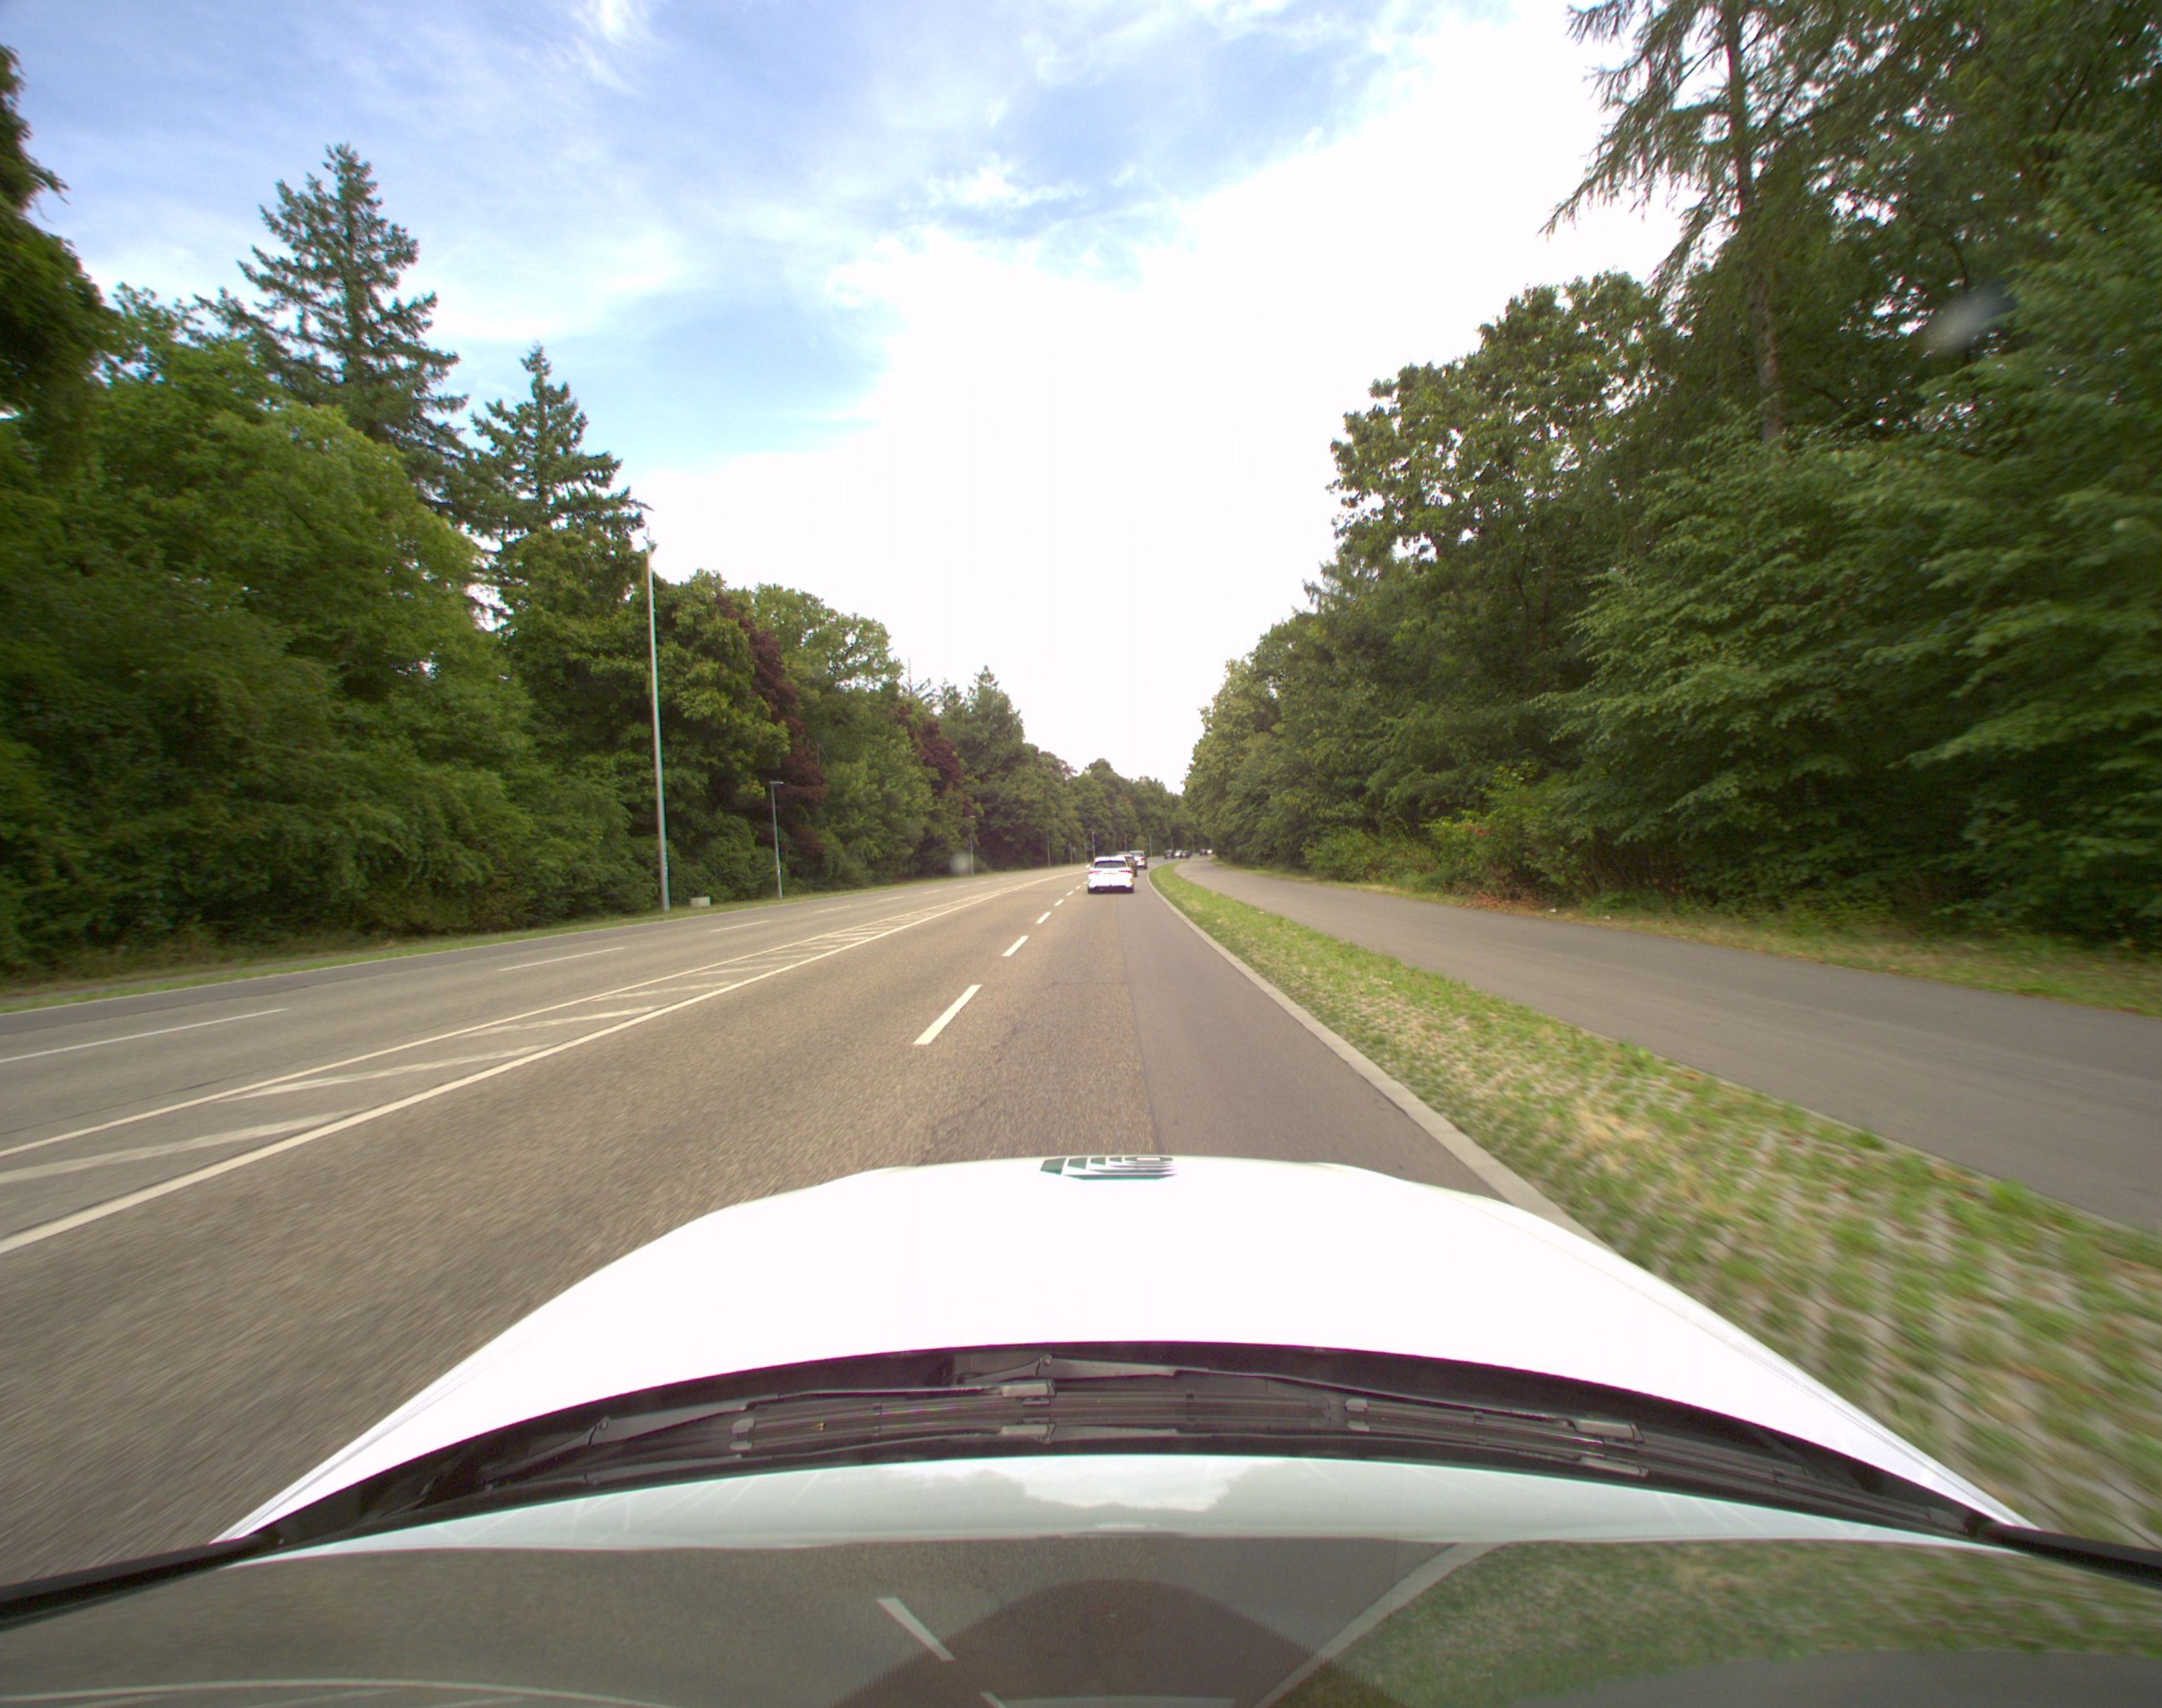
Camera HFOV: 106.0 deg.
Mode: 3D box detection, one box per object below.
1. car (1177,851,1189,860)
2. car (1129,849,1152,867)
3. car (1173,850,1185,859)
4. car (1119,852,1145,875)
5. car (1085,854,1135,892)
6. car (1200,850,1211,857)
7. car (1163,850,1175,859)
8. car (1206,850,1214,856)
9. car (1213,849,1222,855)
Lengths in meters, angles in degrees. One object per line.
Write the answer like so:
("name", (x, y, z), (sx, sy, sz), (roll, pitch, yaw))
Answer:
("car", (20.127, 0.259, 160.584), (1.980, 1.783, 4.014), (0, -1, 13))
("car", (5.544, 0.416, 75.315), (1.983, 1.607, 4.007), (0, -1, 7))
("car", (21.874, 0.136, 180.908), (1.978, 1.783, 4.017), (0, -1, 17))
("car", (3.310, 0.623, 53.541), (1.628, 1.420, 4.003), (0, -1, 3))
("car", (1.154, 0.752, 32.615), (1.829, 1.410, 4.492), (0, -1, 2))
("car", (31.358, -0.160, 205.406), (1.977, 1.783, 4.019), (0, -1, 19))
("car", (17.629, 0.199, 163.713), (1.980, 1.783, 4.012), (0, -1, 11))
("car", (38.836, -0.306, 245.385), (1.873, 1.816, 4.019), (0, -1, 19))
("car", (39.209, -0.610, 233.758), (1.979, 1.706, 4.015), (-2, 0, 14))
